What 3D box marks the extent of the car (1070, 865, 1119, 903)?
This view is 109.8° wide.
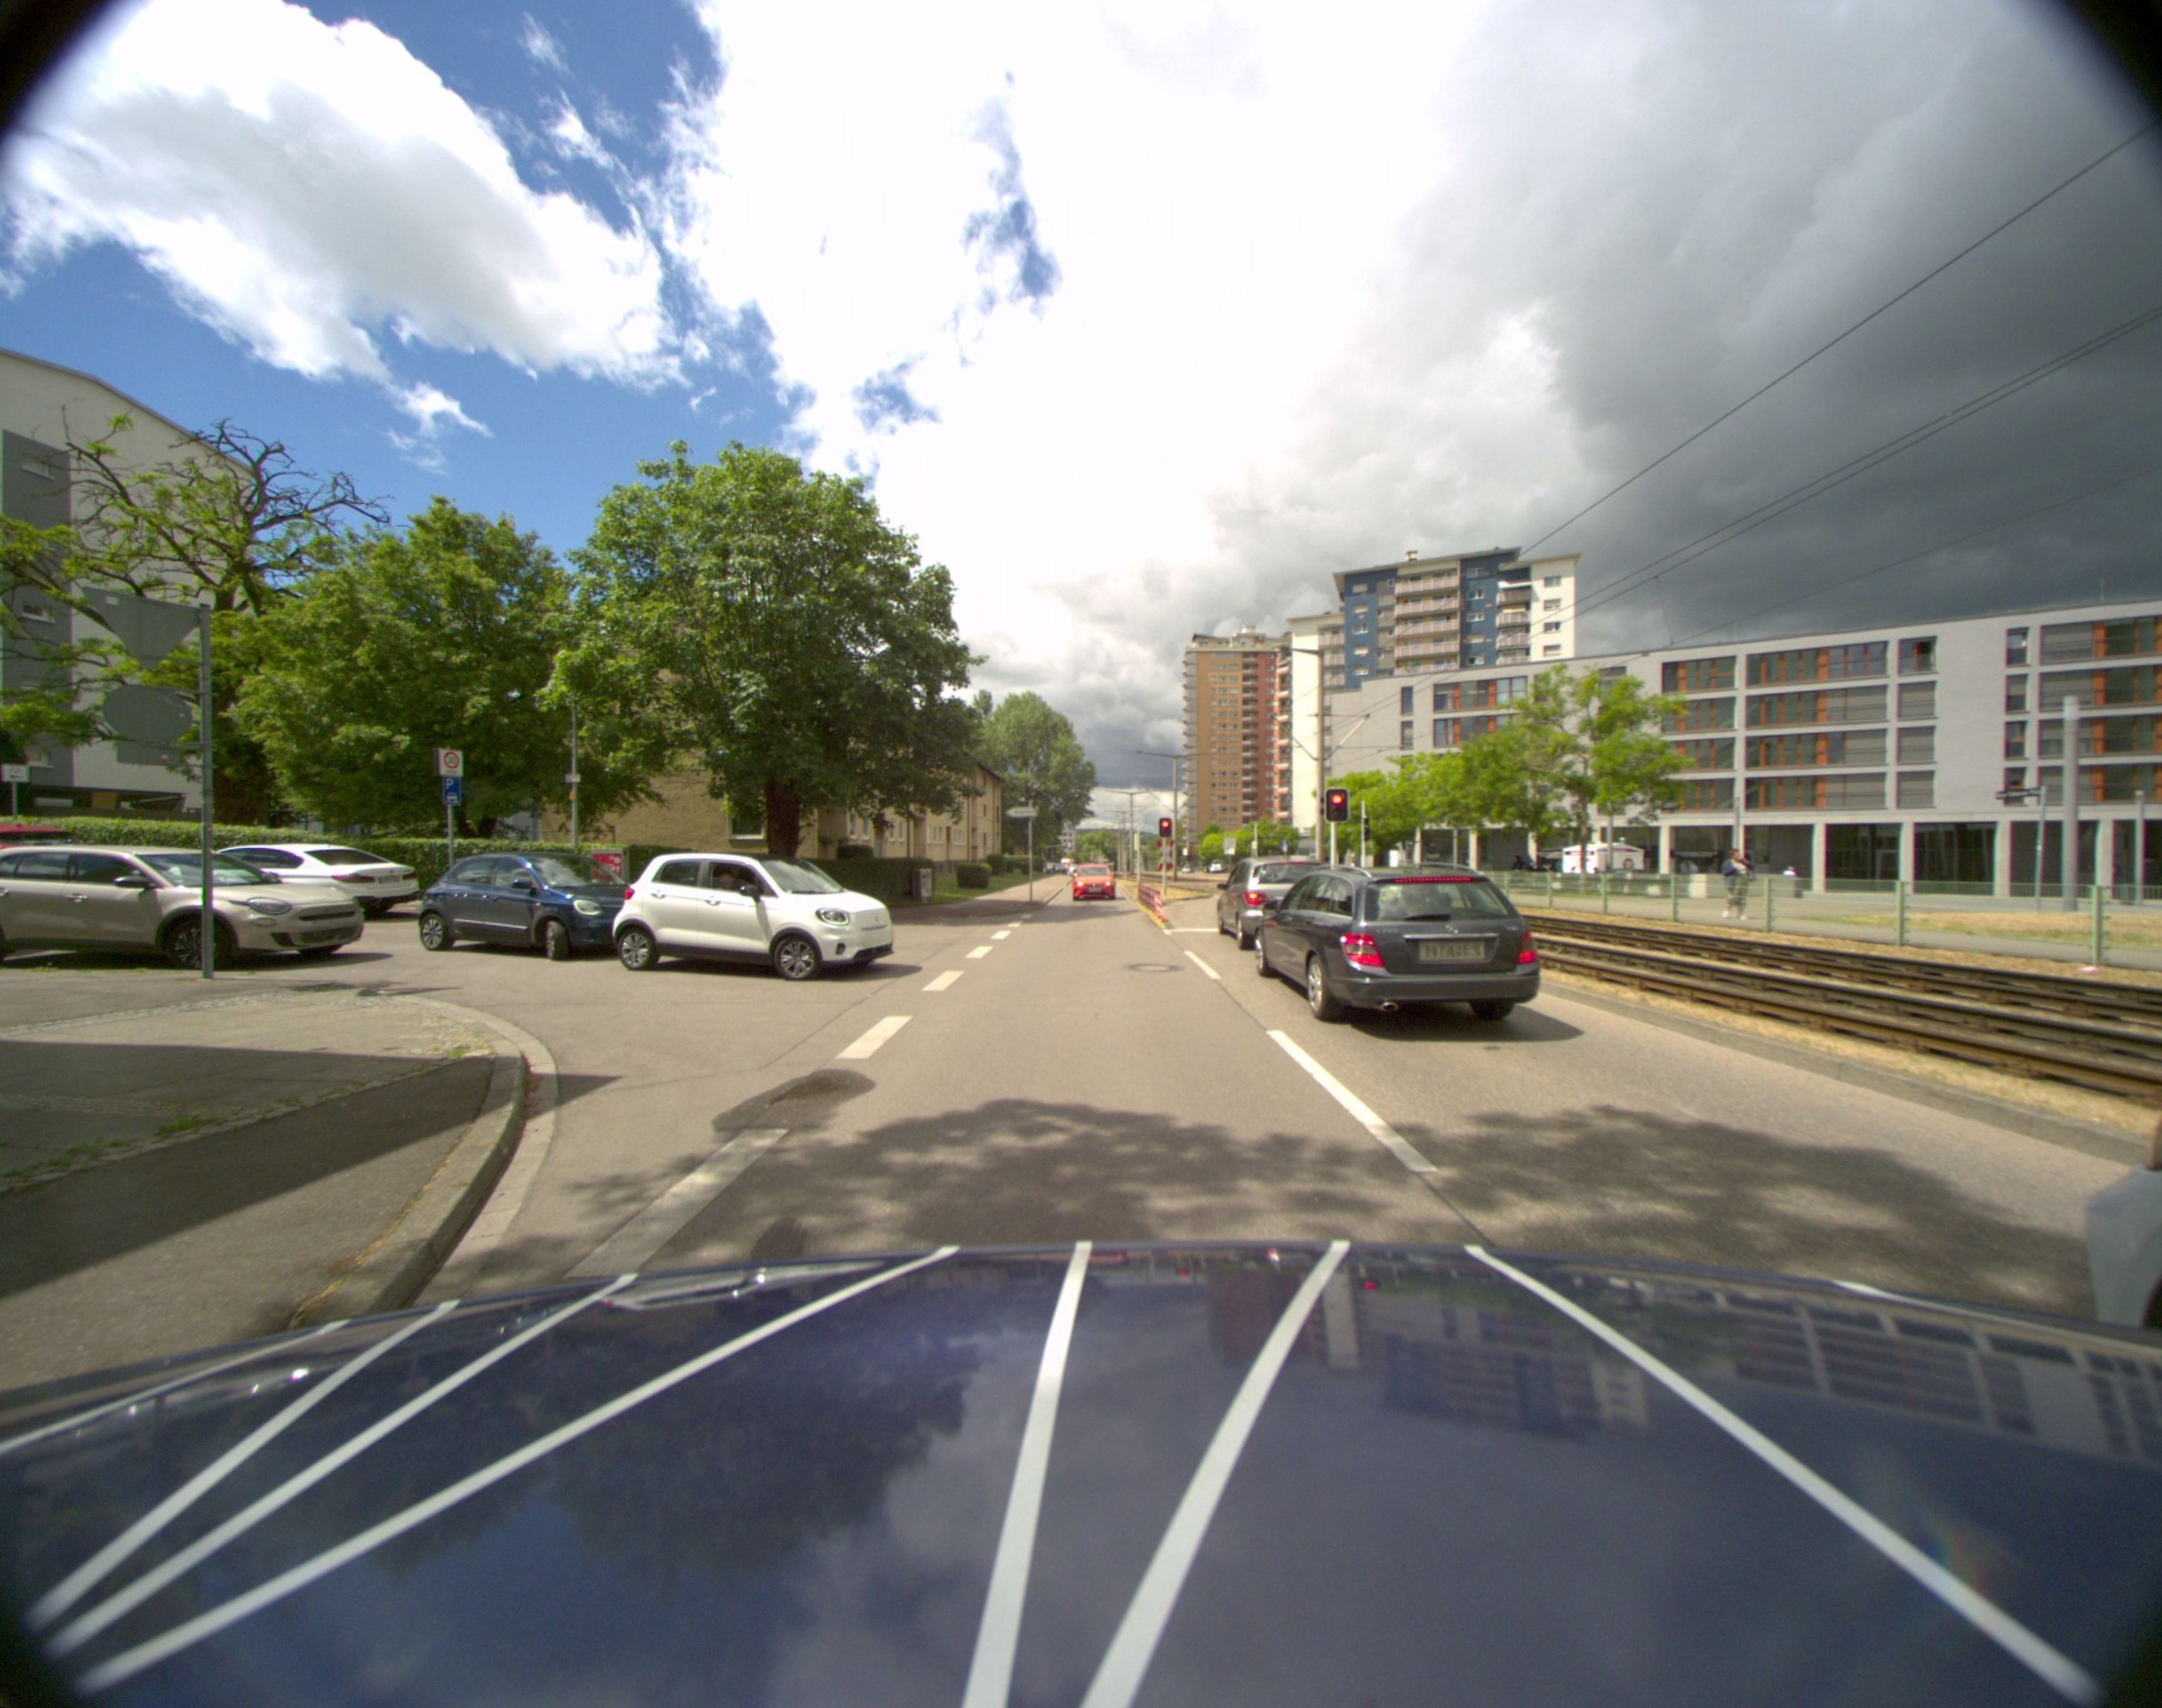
[{"bbox_3d":[0.609,1.186,30.334,1.791,1.387,4.244,-1,-2,3],"label":"car"}]

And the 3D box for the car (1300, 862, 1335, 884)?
[{"bbox_3d":[18.749,1.488,60.350,1.893,1.613,3.805,-1,0,5],"label":"car"}]

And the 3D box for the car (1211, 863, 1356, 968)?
[{"bbox_3d":[3.628,1.024,14.383,1.861,1.650,4.177,-1,0,4],"label":"car"}]

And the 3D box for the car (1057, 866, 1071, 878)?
[{"bbox_3d":[-2.317,2.460,104.265,1.843,1.648,3.790,-1,0,1],"label":"car"}]

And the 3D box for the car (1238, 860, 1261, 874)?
[{"bbox_3d":[18.997,1.484,85.905,1.781,1.530,3.804,-1,0,1],"label":"car"}]

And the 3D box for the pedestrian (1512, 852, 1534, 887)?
[{"bbox_3d":[21.312,0.756,36.662,0.749,1.644,0.538,-1,0,2],"label":"pedestrian"}]

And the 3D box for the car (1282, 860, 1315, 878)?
[{"bbox_3d":[19.033,1.287,66.693,1.893,1.530,3.804,-1,0,3],"label":"car"}]

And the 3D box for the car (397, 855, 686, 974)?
[{"bbox_3d":[-8.361,0.838,11.862,3.640,1.562,1.844,1,0,18],"label":"car"}]

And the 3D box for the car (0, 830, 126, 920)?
[{"bbox_3d":[-22.896,0.356,15.680,4.242,1.702,1.827,2,0,3],"label":"car"}]

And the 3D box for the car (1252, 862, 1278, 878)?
[{"bbox_3d":[19.166,1.666,79.254,1.781,1.530,3.804,-1,0,1],"label":"car"}]

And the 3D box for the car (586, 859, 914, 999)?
[{"bbox_3d":[-4.354,0.892,10.226,3.642,1.562,1.844,1,0,13],"label":"car"}]

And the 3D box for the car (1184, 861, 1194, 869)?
[{"bbox_3d":[20.784,2.022,146.332,1.780,1.490,3.806,-1,0,6],"label":"car"}]

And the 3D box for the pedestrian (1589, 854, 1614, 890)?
[{"bbox_3d":[29.590,1.030,43.186,0.734,2.002,0.910,-1,0,-16],"label":"pedestrian"}]

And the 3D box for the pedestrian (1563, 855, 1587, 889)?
[{"bbox_3d":[28.916,1.052,44.483,0.734,2.002,0.910,-1,0,-16],"label":"pedestrian"}]

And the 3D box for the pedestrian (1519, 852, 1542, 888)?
[{"bbox_3d":[21.298,0.760,35.969,0.749,1.644,0.538,-1,0,2],"label":"pedestrian"}]

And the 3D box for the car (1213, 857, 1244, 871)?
[{"bbox_3d":[21.449,1.461,110.278,4.505,1.914,1.877,-1,0,-39],"label":"car"}]

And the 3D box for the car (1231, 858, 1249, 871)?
[{"bbox_3d":[22.182,1.465,105.876,1.781,1.650,3.804,-1,0,1],"label":"car"}]

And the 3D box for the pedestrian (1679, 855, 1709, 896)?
[{"bbox_3d":[24.096,0.832,29.865,0.538,1.601,0.748,-1,0,-21],"label":"pedestrian"}]

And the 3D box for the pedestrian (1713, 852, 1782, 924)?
[{"bbox_3d":[15.509,0.776,17.708,0.756,1.603,0.938,-1,0,1],"label":"pedestrian"}]

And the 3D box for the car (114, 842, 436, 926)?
[{"bbox_3d":[-16.237,0.592,15.490,4.534,1.495,1.852,2,0,0],"label":"car"}]

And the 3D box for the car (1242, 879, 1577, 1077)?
[{"bbox_3d":[3.056,1.051,8.214,1.815,1.437,4.466,-1,0,2],"label":"car"}]

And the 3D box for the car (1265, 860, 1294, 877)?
[{"bbox_3d":[19.043,1.343,72.952,1.781,1.530,3.804,-1,0,1],"label":"car"}]

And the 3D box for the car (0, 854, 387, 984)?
[{"bbox_3d":[-12.052,0.802,10.056,3.936,1.510,1.802,1,0,-4],"label":"car"}]

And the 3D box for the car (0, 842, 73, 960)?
[{"bbox_3d":[-16.667,0.614,10.075,3.919,1.563,1.911,2,2,-1],"label":"car"}]
